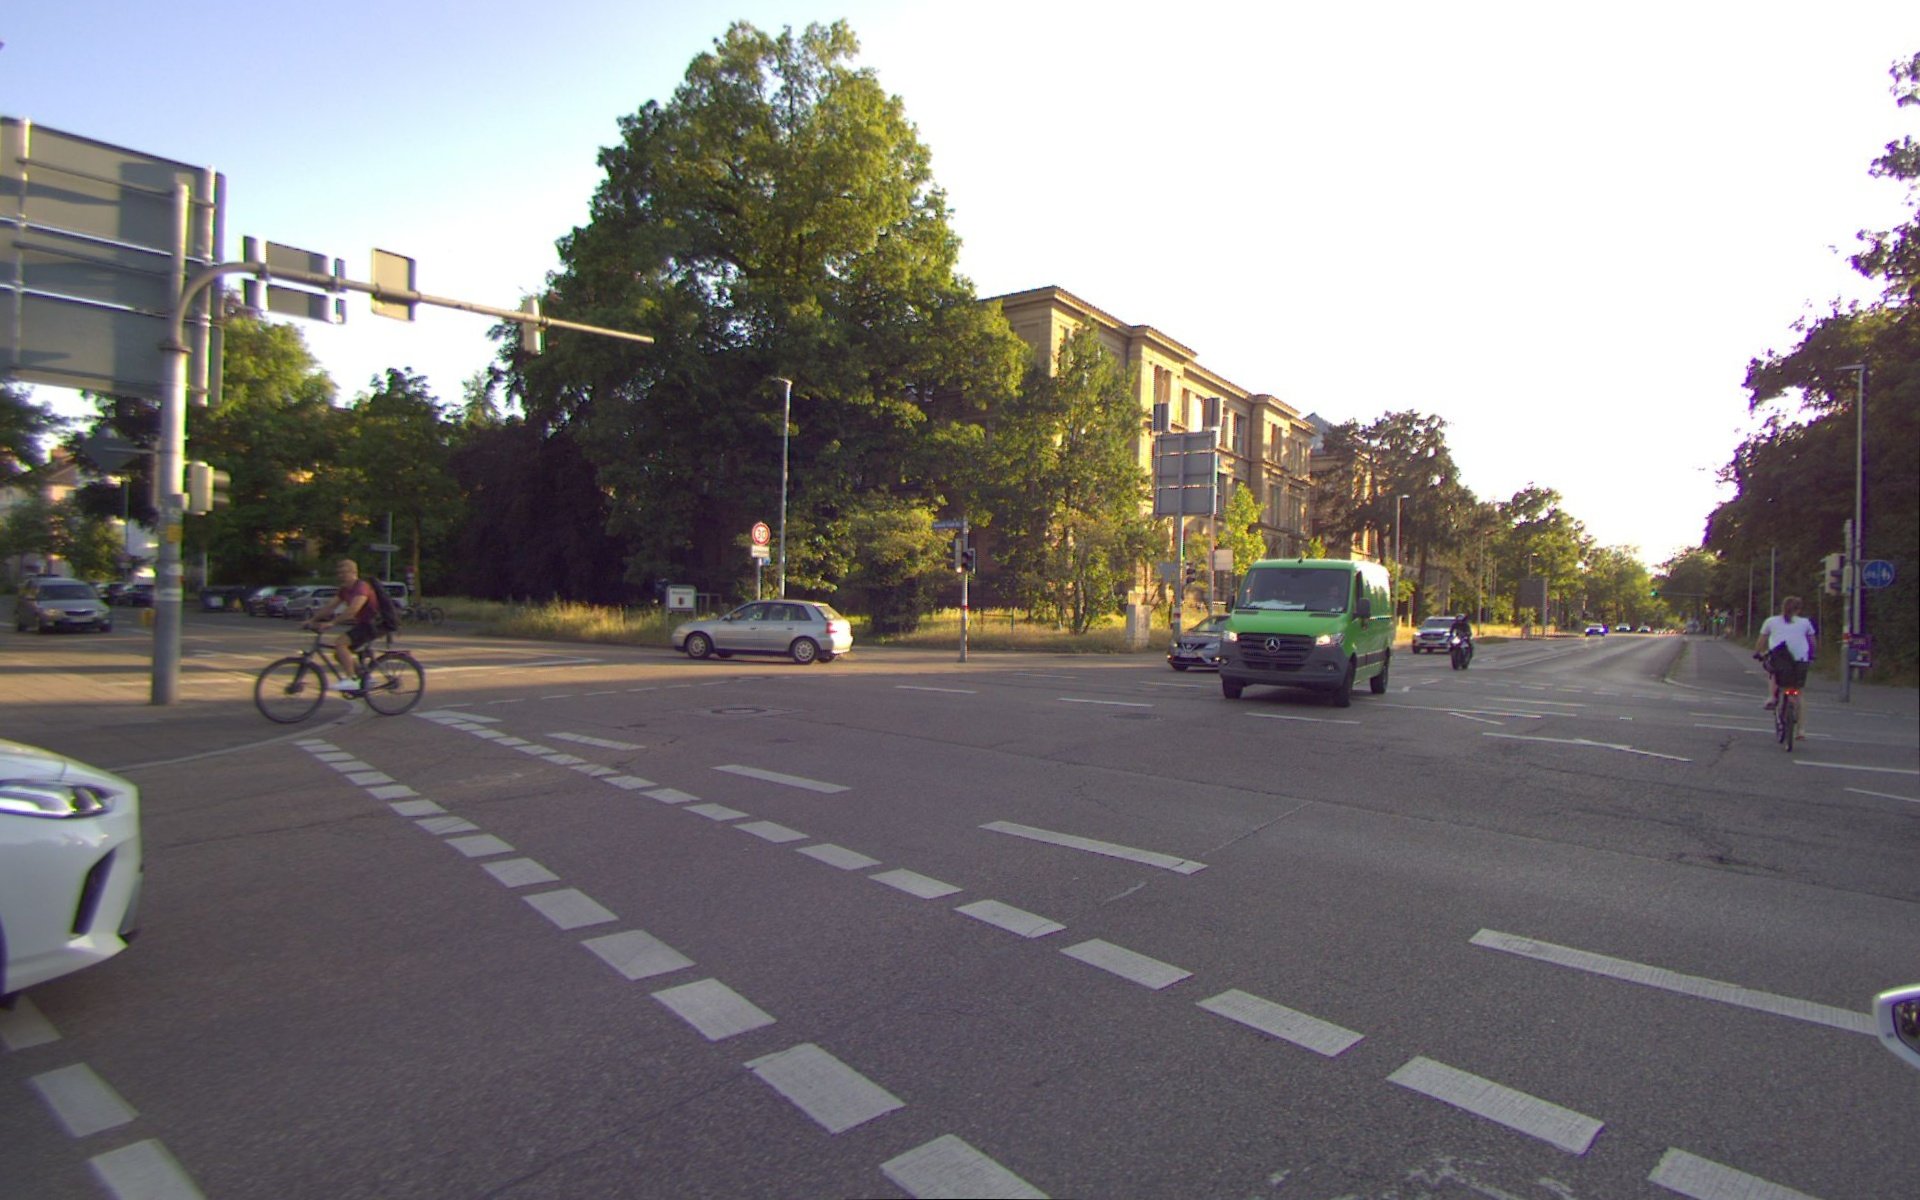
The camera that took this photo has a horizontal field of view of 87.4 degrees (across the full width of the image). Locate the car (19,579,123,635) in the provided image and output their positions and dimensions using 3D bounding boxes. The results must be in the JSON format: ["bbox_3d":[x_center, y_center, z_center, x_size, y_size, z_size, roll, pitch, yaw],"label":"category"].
[{"bbox_3d":[-26.241,0.165,29.629,3.643,1.530,1.683,2,2,39],"label":"car"}]

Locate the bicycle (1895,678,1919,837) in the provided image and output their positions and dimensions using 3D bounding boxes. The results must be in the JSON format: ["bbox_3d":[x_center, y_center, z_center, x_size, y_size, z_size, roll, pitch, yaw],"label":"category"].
[{"bbox_3d":[6.877,1.118,6.616,0.689,1.077,1.820,3,0,33],"label":"bicycle"}]

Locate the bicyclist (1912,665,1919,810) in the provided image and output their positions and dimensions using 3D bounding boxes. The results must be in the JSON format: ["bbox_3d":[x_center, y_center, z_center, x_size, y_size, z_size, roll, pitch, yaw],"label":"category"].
[{"bbox_3d":[6.918,0.634,6.645,0.689,1.689,0.796,3,1,33],"label":"bicyclist"}]

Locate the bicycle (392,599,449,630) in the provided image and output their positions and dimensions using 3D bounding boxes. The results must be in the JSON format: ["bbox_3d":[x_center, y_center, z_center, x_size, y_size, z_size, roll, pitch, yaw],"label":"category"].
[{"bbox_3d":[-21.772,0.610,40.579,0.742,1.171,1.867,4,1,41],"label":"bicycle"}]

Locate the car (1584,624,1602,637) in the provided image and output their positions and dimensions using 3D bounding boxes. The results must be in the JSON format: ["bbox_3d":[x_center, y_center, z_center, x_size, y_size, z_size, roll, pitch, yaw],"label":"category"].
[{"bbox_3d":[73.006,3.515,115.832,1.746,1.494,3.766,2,0,33],"label":"car"}]

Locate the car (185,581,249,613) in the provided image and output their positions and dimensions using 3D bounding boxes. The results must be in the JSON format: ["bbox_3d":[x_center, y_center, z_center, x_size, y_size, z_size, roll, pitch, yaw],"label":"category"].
[{"bbox_3d":[-41.428,-0.180,56.021,3.938,1.664,1.929,1,0,39],"label":"car"}]

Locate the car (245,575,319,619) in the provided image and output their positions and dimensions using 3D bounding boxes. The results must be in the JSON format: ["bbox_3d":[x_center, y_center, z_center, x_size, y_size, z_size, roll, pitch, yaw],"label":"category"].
[{"bbox_3d":[-33.616,-0.152,49.759,3.938,2.040,1.929,1,0,39],"label":"car"}]

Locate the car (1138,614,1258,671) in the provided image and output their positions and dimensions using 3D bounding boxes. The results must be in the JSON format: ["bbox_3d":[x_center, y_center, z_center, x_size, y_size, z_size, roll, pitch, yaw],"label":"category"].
[{"bbox_3d":[6.275,1.080,26.273,1.742,1.346,3.629,1,0,37],"label":"car"}]

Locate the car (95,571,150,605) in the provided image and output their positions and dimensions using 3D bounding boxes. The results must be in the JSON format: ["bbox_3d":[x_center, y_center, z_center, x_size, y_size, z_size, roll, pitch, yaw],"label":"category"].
[{"bbox_3d":[-55.885,-0.799,66.988,3.937,2.040,1.992,4,1,38],"label":"car"}]

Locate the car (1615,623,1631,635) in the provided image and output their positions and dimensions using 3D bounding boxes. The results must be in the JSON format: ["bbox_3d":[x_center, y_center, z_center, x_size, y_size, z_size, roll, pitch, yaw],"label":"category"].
[{"bbox_3d":[101.169,4.442,153.276,1.966,1.662,3.989,2,0,34],"label":"car"}]

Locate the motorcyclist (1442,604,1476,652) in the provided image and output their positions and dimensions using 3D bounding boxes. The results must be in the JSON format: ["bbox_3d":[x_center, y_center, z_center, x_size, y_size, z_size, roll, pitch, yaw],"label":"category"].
[{"bbox_3d":[14.591,0.816,29.371,0.740,1.376,0.701,1,-1,37],"label":"motorcyclist"}]

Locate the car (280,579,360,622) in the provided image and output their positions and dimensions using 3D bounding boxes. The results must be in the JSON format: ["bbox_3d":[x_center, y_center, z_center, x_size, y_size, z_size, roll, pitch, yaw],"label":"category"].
[{"bbox_3d":[-29.834,0.012,46.771,4.121,1.870,1.855,1,0,38],"label":"car"}]

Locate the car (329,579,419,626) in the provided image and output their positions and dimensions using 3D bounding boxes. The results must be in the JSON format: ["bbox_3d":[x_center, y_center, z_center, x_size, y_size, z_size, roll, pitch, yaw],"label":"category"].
[{"bbox_3d":[-25.109,0.107,42.995,4.054,1.870,1.856,2,0,37],"label":"car"}]

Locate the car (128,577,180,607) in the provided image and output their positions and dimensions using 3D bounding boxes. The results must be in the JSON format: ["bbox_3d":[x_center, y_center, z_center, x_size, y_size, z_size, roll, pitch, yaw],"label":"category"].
[{"bbox_3d":[-51.694,-0.524,64.423,3.938,1.751,1.792,3,1,39],"label":"car"}]

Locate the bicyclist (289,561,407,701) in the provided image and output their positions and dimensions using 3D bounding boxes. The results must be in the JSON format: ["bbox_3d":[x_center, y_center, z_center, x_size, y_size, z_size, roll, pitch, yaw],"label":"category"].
[{"bbox_3d":[-7.029,0.343,11.560,0.674,1.532,0.952,1,0,37],"label":"bicyclist"}]

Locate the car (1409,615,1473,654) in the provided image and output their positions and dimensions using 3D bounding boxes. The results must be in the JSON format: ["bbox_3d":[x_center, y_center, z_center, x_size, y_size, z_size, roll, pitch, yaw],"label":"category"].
[{"bbox_3d":[21.902,1.555,45.647,1.742,1.657,4.495,1,0,37],"label":"car"}]

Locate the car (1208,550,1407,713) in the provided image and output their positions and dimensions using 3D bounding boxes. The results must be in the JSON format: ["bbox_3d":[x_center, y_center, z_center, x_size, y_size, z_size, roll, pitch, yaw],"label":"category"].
[{"bbox_3d":[6.196,0.493,17.345,2.009,2.308,5.928,1,0,31],"label":"car"}]

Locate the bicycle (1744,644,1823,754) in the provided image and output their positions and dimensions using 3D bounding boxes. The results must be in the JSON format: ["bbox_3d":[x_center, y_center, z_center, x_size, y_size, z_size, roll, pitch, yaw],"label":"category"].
[{"bbox_3d":[9.841,1.140,12.042,0.605,1.153,1.877,3,1,37],"label":"bicycle"}]

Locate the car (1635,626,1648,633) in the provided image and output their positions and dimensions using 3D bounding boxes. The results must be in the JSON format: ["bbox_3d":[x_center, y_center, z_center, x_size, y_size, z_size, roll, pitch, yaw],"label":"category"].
[{"bbox_3d":[133.877,5.780,197.251,1.967,1.283,3.987,2,0,35],"label":"car"}]

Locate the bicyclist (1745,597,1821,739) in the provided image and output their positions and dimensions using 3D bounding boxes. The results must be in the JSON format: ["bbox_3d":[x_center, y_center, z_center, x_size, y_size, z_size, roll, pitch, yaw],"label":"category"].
[{"bbox_3d":[9.846,0.789,12.039,0.596,1.607,0.906,3,1,37],"label":"bicyclist"}]

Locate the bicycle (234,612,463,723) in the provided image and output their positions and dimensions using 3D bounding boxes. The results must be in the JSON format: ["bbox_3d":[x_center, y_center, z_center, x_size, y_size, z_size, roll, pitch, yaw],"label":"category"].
[{"bbox_3d":[-6.996,0.721,11.612,0.677,1.138,2.160,1,1,37],"label":"bicycle"}]

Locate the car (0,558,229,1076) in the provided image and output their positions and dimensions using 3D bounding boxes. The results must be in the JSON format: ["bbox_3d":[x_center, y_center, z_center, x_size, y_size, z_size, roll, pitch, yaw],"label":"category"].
[{"bbox_3d":[-4.312,0.571,2.083,1.728,1.485,4.176,1,0,34],"label":"car"}]

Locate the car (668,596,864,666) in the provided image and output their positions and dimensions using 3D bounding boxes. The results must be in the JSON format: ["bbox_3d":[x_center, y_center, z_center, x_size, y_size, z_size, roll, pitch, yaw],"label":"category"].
[{"bbox_3d":[-4.359,0.681,22.957,4.056,1.427,1.736,2,0,4],"label":"car"}]

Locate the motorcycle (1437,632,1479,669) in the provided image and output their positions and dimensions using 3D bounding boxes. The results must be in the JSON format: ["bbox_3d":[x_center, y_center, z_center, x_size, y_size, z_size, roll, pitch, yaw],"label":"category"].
[{"bbox_3d":[14.601,1.463,29.415,0.744,1.014,1.872,1,0,37],"label":"motorcycle"}]

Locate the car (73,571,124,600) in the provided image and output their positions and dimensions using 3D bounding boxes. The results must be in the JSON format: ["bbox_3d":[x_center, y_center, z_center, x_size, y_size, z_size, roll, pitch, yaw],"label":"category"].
[{"bbox_3d":[-60.751,-1.027,70.830,3.937,1.840,1.992,4,1,38],"label":"car"}]
